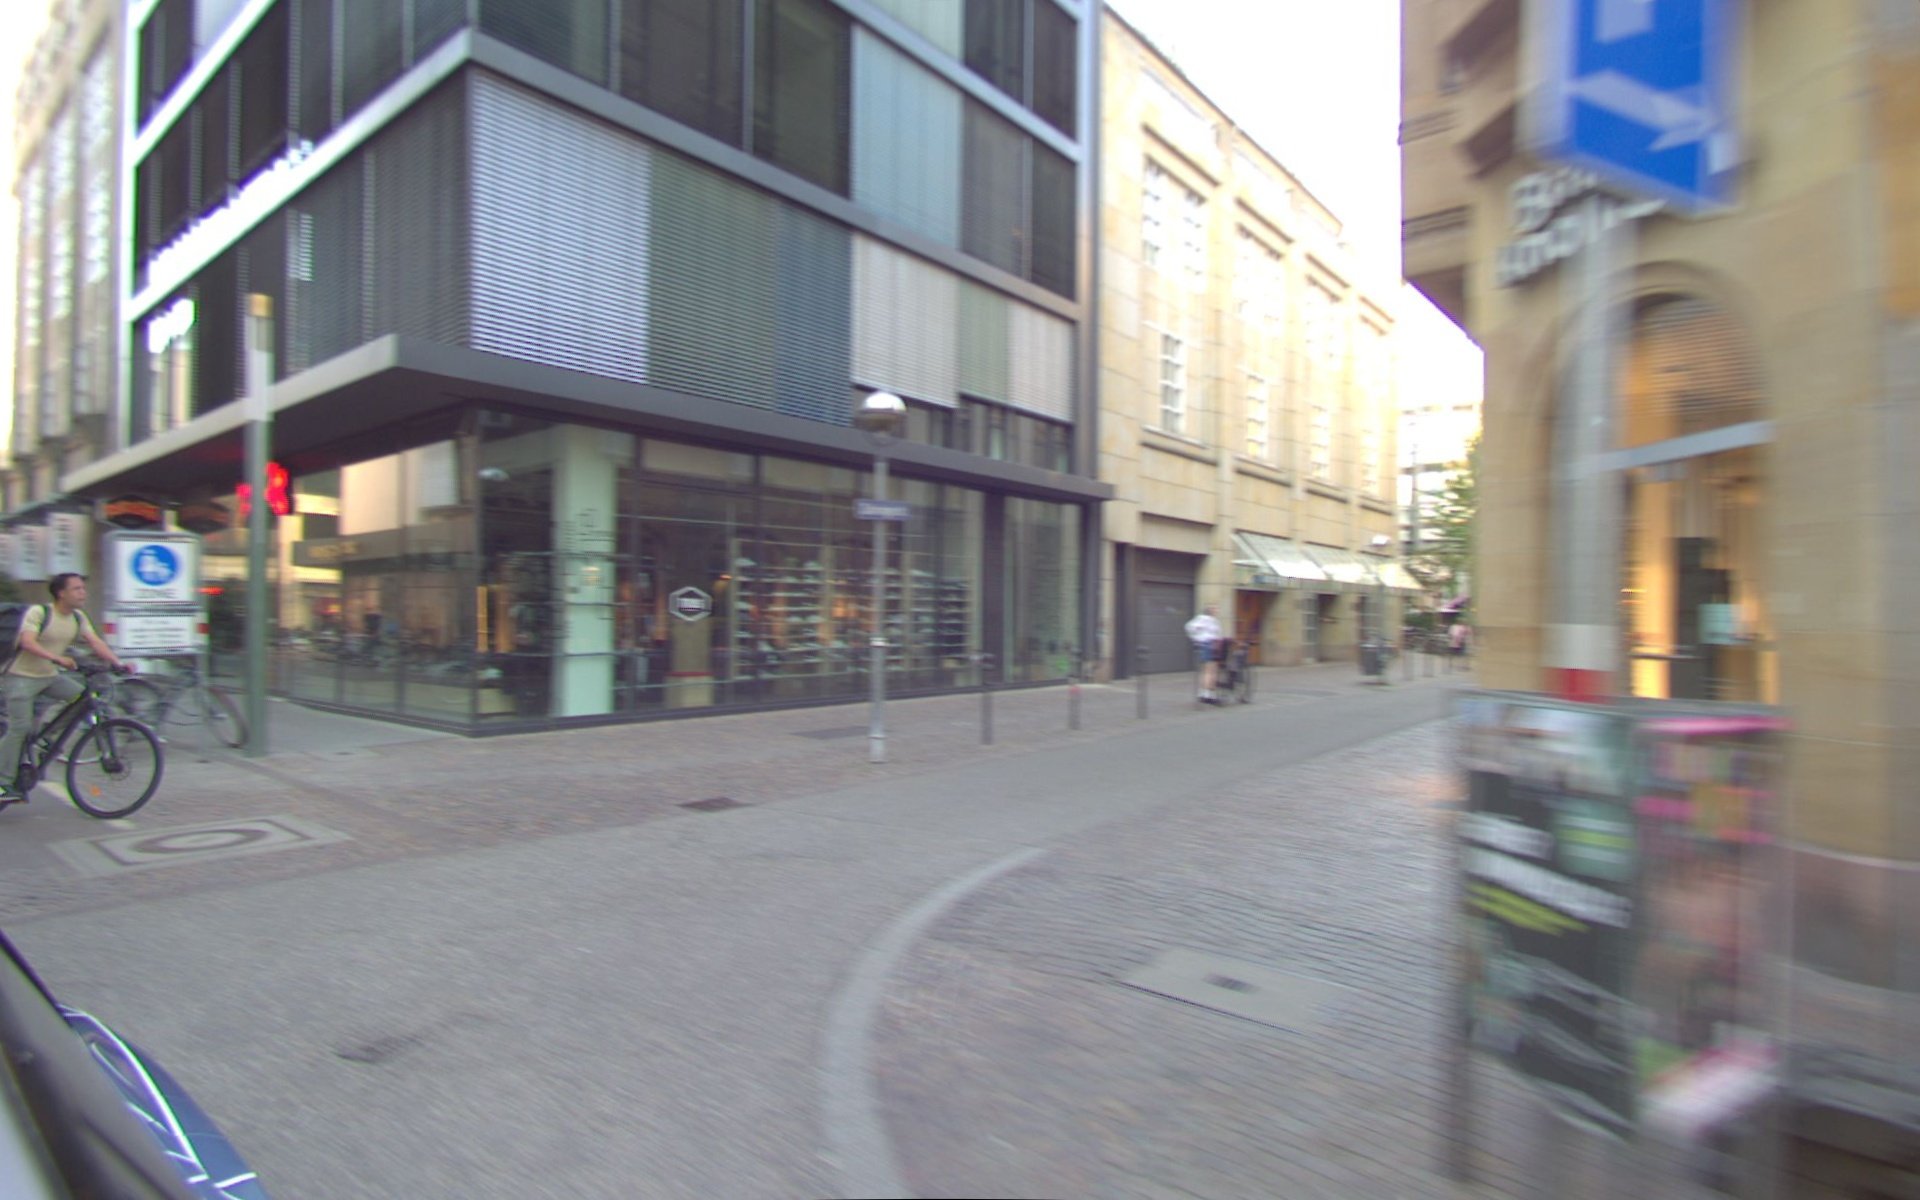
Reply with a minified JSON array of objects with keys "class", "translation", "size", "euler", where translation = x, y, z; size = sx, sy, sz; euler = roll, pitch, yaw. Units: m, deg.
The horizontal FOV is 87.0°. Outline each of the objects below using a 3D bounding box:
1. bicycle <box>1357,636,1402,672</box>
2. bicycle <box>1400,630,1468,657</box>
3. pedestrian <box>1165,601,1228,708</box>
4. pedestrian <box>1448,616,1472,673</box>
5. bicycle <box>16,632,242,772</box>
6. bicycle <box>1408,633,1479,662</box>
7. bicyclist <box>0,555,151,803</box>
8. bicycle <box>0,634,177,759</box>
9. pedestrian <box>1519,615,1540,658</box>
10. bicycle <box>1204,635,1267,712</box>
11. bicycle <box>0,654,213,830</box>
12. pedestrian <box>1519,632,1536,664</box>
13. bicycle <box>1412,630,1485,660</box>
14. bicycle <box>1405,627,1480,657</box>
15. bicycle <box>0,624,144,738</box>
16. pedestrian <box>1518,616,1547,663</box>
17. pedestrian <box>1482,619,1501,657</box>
[{"class":"bicycle","translation":[13.034,1.660,31.409],"size":[2.209,1.089,0.482],"euler":[2,-2,-45]},{"class":"bicycle","translation":[21.766,2.001,46.519],"size":[2.747,1.209,0.728],"euler":[0,-2,21]},{"class":"pedestrian","translation":[4.107,0.922,17.596],"size":[0.909,1.804,0.603],"euler":[-1,-2,38]},{"class":"pedestrian","translation":[15.765,1.384,31.921],"size":[0.655,1.777,0.611],"euler":[0,-2,26]},{"class":"bicycle","translation":[-8.146,0.951,9.987],"size":[0.509,1.213,1.649],"euler":[-1,0,39]},{"class":"bicycle","translation":[21.197,2.088,44.424],"size":[2.747,1.209,0.728],"euler":[0,-2,21]},{"class":"bicyclist","translation":[-6.506,0.540,7.261],"size":[0.859,1.683,0.675],"euler":[0,-1,8]},{"class":"bicycle","translation":[-9.578,1.001,10.770],"size":[0.517,1.190,1.879],"euler":[-3,0,38]},{"class":"pedestrian","translation":[23.670,1.505,42.066],"size":[0.632,1.770,0.788],"euler":[0,-2,40]},{"class":"bicycle","translation":[4.727,1.218,17.281],"size":[0.412,1.241,1.804],"euler":[-1,-2,37]},{"class":"bicycle","translation":[-6.530,0.972,7.249],"size":[1.982,1.137,0.698],"euler":[0,-1,9]},{"class":"pedestrian","translation":[21.299,1.806,37.982],"size":[0.467,1.176,0.514],"euler":[0,-2,40]},{"class":"bicycle","translation":[20.902,1.919,43.388],"size":[2.747,1.209,0.728],"euler":[0,-2,21]},{"class":"bicycle","translation":[20.004,1.731,42.015],"size":[2.747,1.209,0.728],"euler":[0,-2,21]},{"class":"bicycle","translation":[-11.476,1.002,12.655],"size":[0.538,1.279,1.878],"euler":[-1,2,40]},{"class":"pedestrian","translation":[22.339,1.540,39.494],"size":[0.866,1.770,0.788],"euler":[0,-2,40]},{"class":"pedestrian","translation":[22.960,1.647,43.715],"size":[0.586,1.616,0.619],"euler":[0,-2,40]}]
